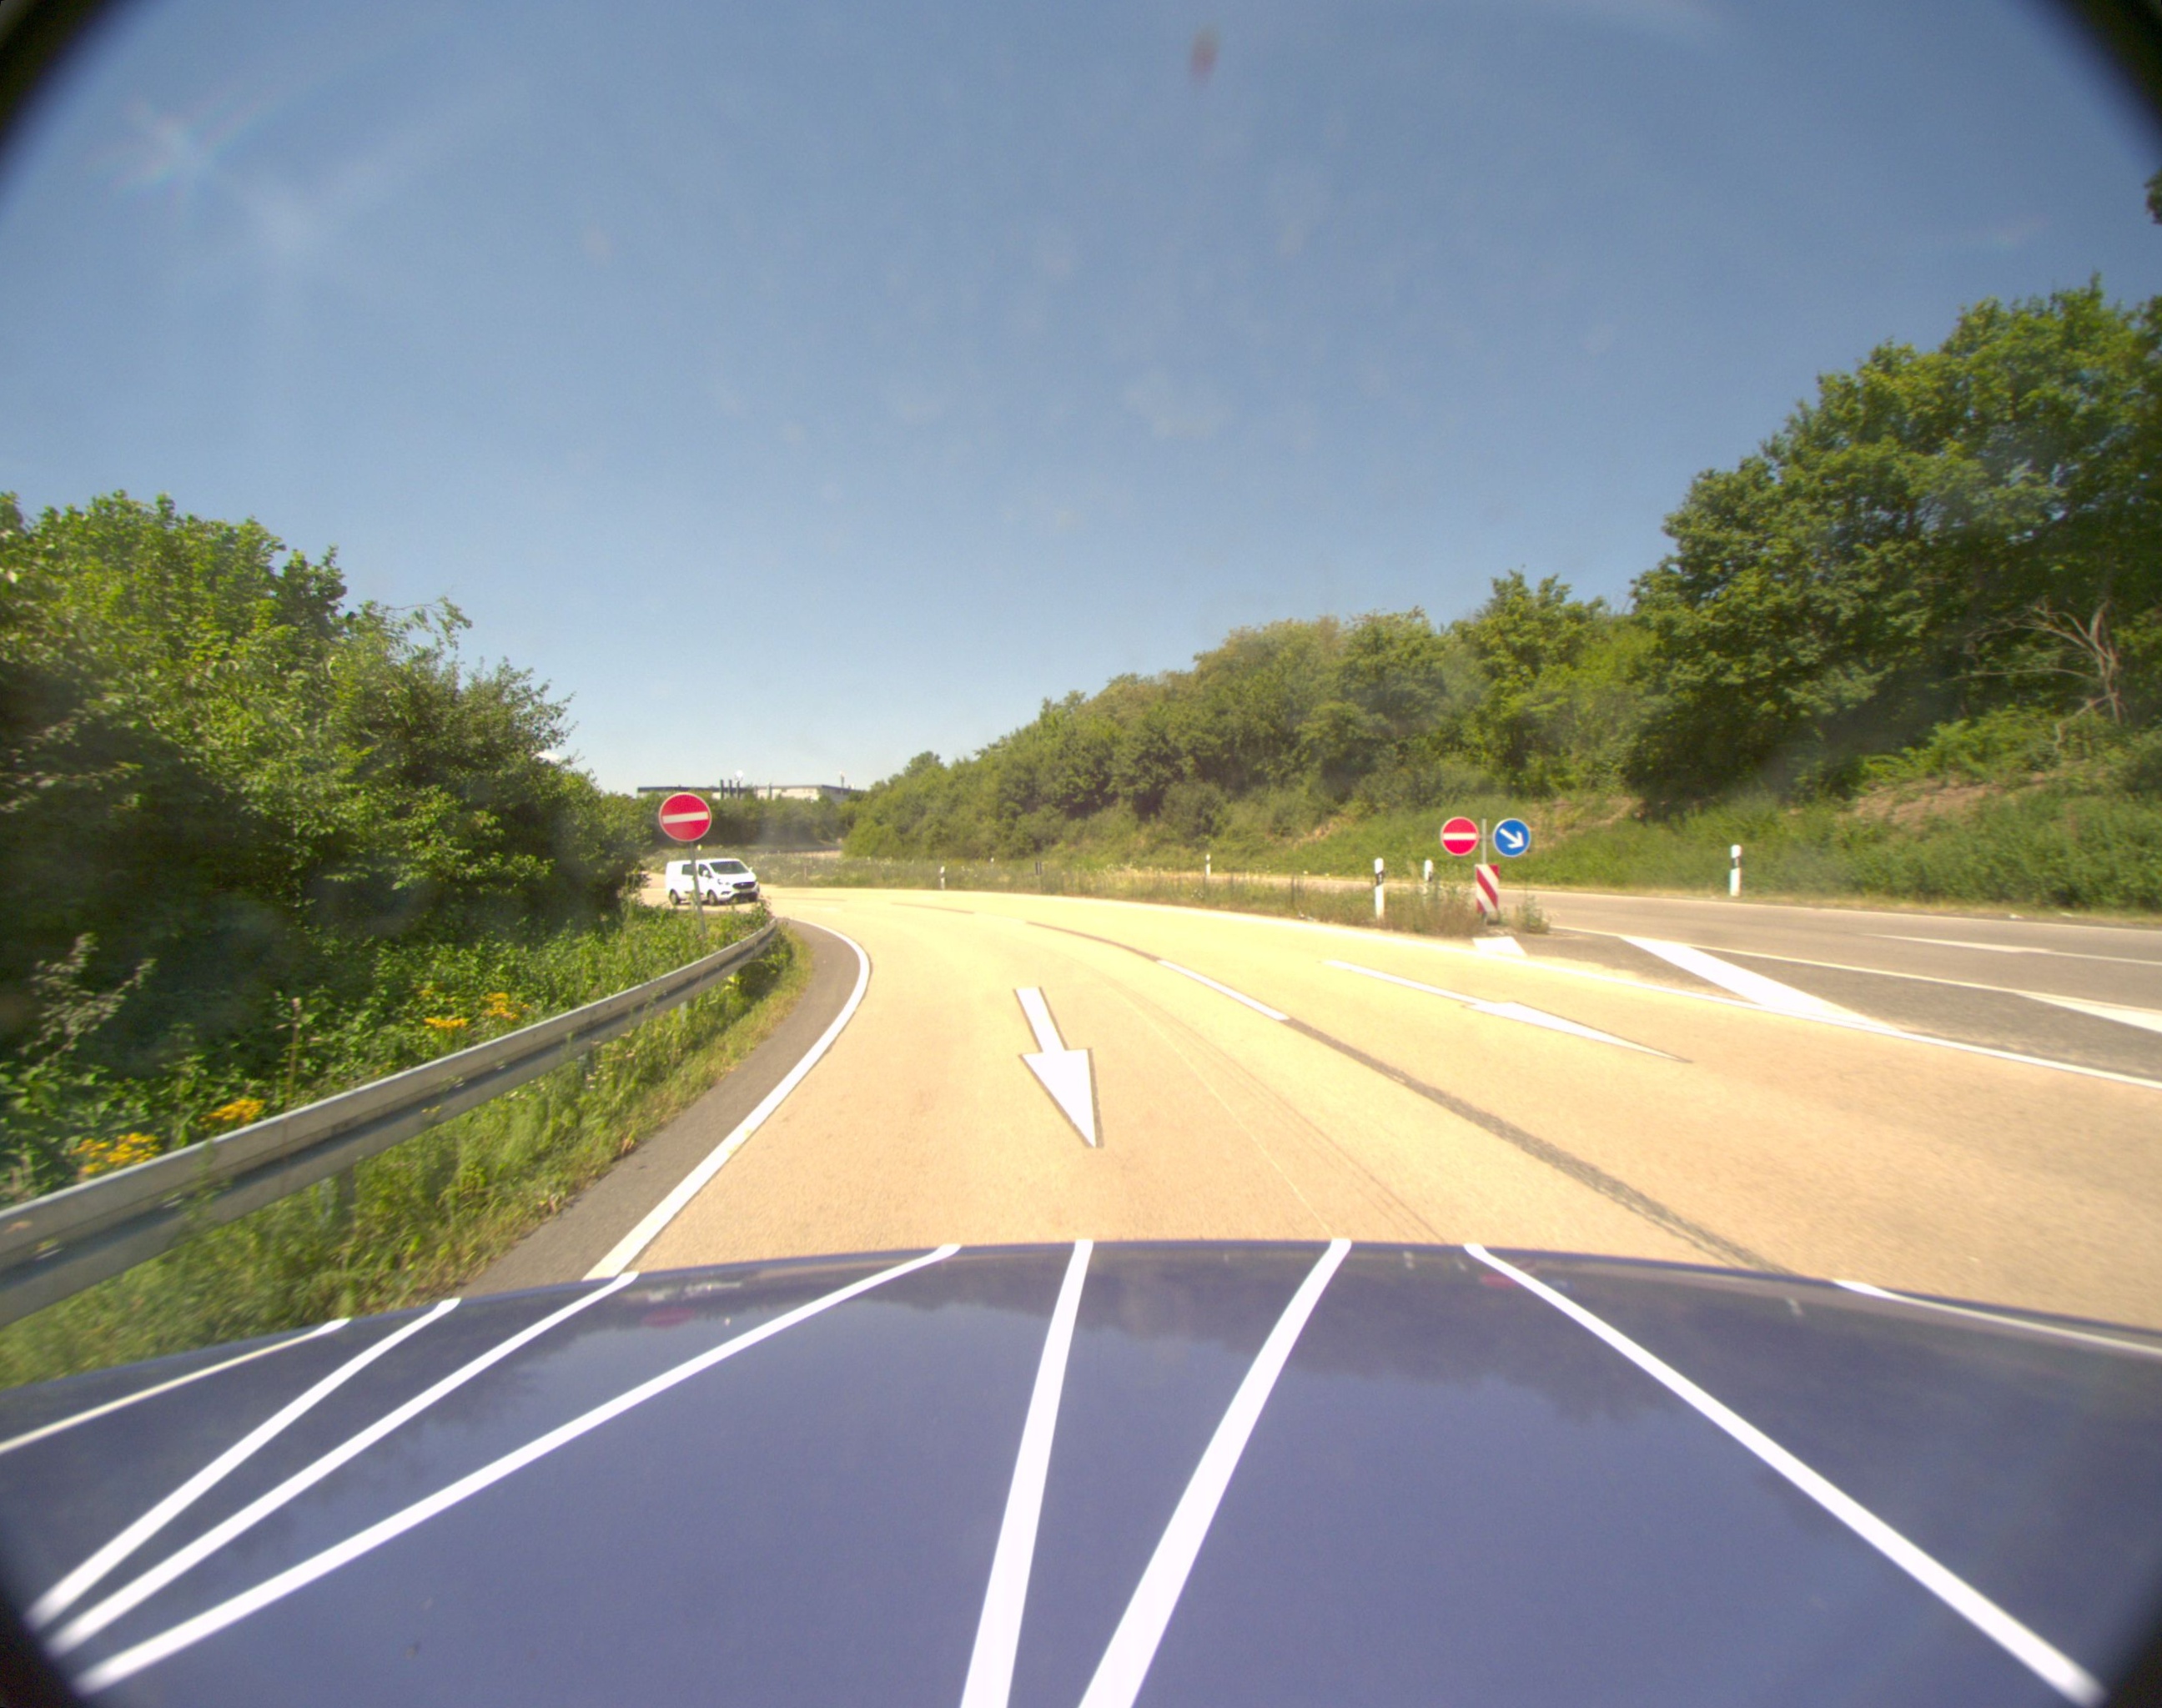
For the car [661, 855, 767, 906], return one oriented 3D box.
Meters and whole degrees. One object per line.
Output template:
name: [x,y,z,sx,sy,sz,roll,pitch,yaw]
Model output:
car: [-16.493,1.156,34.025,5.027,2.003,2.067,-1,3,37]
